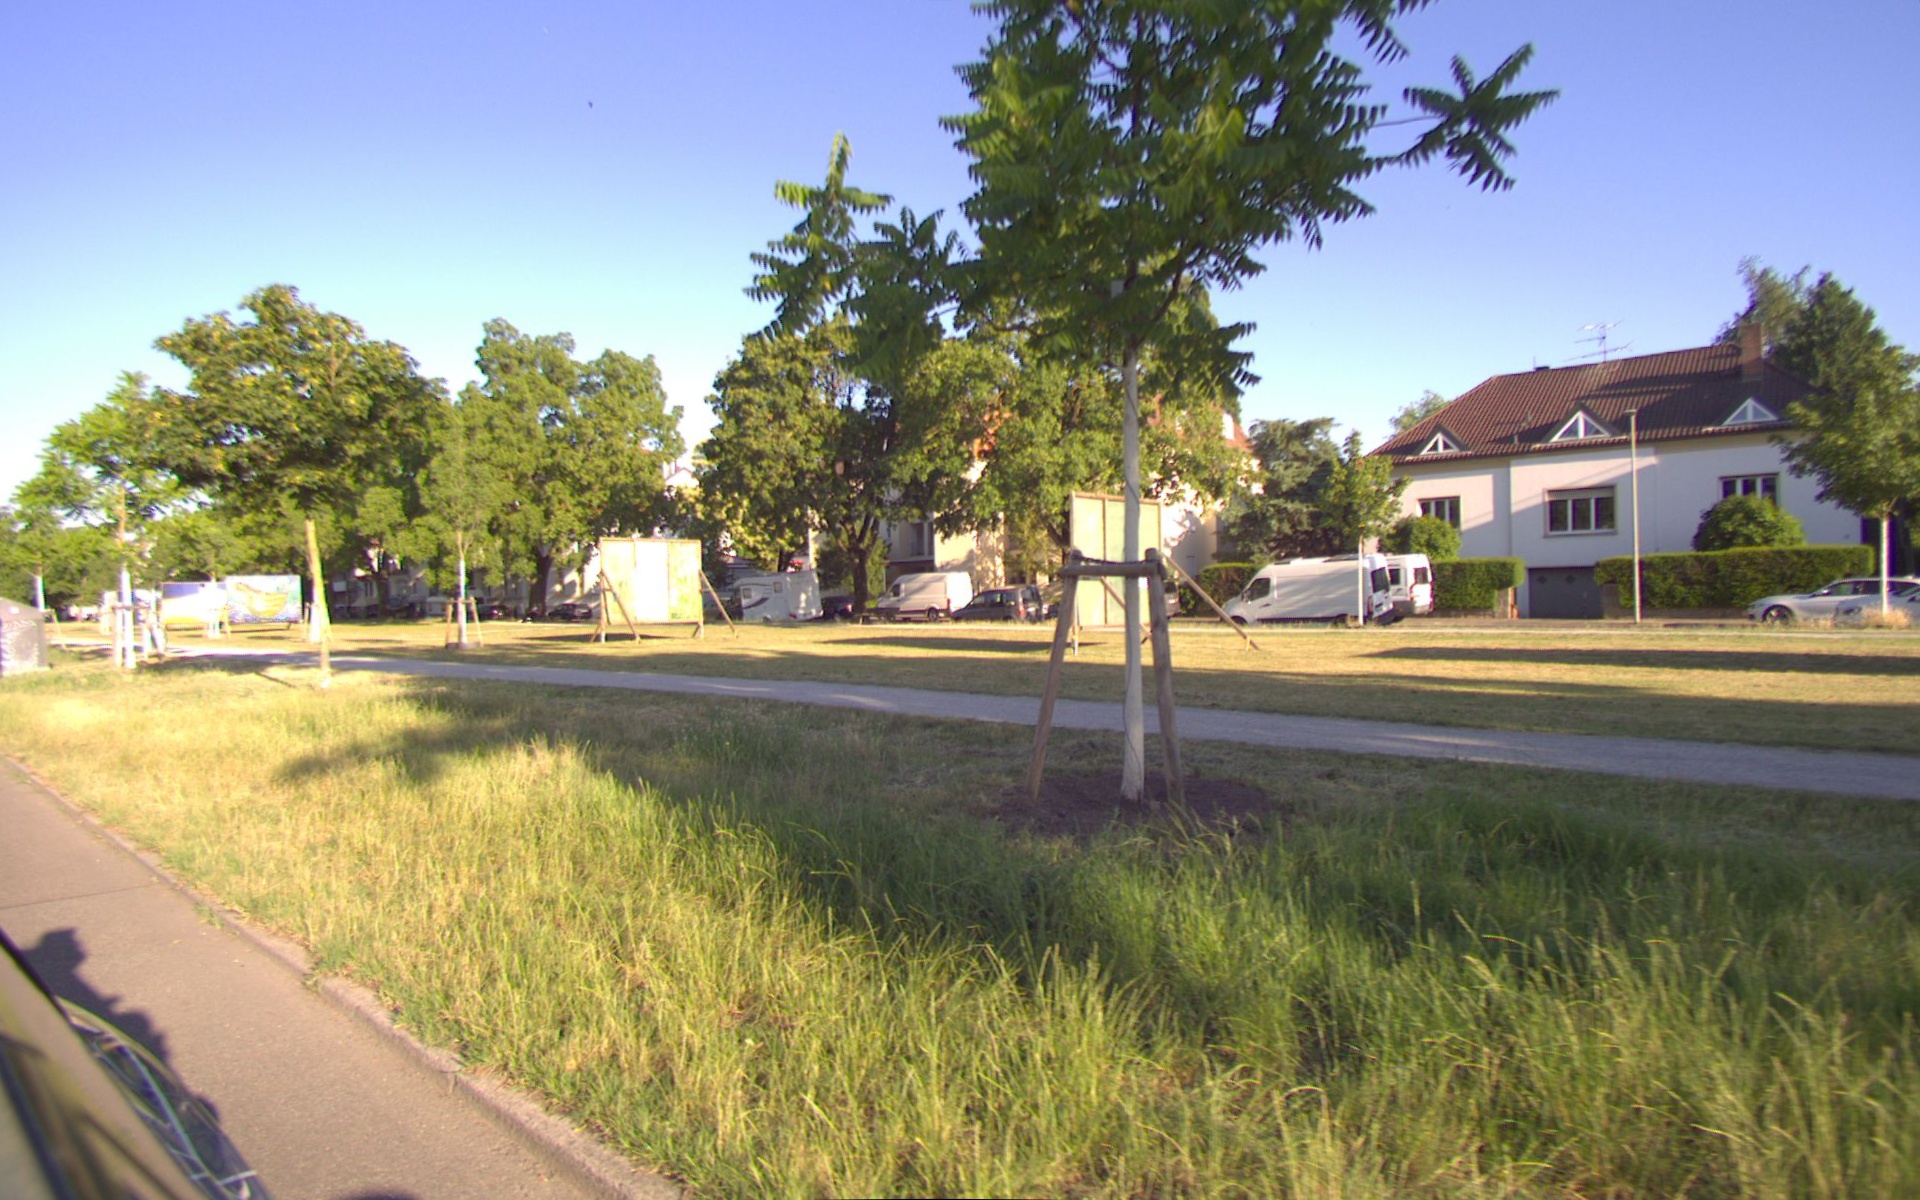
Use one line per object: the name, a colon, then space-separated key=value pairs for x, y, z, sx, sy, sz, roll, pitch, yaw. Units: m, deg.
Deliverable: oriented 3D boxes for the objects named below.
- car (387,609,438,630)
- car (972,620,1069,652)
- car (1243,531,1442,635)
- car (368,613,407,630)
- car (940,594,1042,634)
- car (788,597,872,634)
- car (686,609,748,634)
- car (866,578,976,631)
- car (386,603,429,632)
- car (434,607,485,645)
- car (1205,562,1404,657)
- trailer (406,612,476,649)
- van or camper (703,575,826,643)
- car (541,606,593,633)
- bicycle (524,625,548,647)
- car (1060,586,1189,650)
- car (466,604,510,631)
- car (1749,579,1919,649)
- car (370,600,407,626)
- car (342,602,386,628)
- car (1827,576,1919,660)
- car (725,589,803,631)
car: x=-45.004 y=1.633 z=83.204 sx=4.947 sy=1.654 sz=1.974 roll=-2 pitch=0 yaw=40
car: x=2.904 y=1.750 z=49.222 sx=4.564 sy=1.413 sz=1.971 roll=-1 pitch=-5 yaw=45
car: x=14.495 y=-0.525 z=38.706 sx=6.762 sy=3.586 sz=2.279 roll=-1 pitch=-4 yaw=41
car: x=-49.024 y=1.833 z=86.584 sx=4.043 sy=1.325 sz=1.832 roll=-2 pitch=0 yaw=44
car: x=1.255 y=0.619 z=42.182 sx=4.306 sy=1.576 sz=1.399 roll=-2 pitch=-1 yaw=40
car: x=-7.549 y=0.886 z=58.414 sx=5.048 sy=2.020 sz=1.949 roll=-2 pitch=-1 yaw=42
car: x=-15.769 y=1.398 z=65.575 sx=3.806 sy=1.554 sz=1.974 roll=-2 pitch=-1 yaw=39
car: x=-2.148 y=0.286 z=54.026 sx=6.087 sy=2.617 sz=1.973 roll=-1 pitch=-4 yaw=41
car: x=-53.837 y=1.697 z=98.552 sx=5.042 sy=2.660 sz=1.925 roll=-1 pitch=-4 yaw=41
car: x=-44.872 y=2.368 z=90.644 sx=6.071 sy=3.274 sz=1.973 roll=-3 pitch=-3 yaw=41
car: x=11.373 y=0.366 z=33.693 sx=5.869 sy=2.847 sz=2.236 roll=-1 pitch=-4 yaw=42
trailer: x=-40.666 y=2.361 z=79.266 sx=6.632 sy=2.679 sz=2.448 roll=-1 pitch=-4 yaw=41
van or camper: x=-10.242 y=0.536 z=52.668 sx=6.902 sy=3.287 sz=2.614 roll=-3 pitch=-2 yaw=42
car: x=-30.409 y=1.505 z=78.243 sx=4.712 sy=1.927 sz=1.870 roll=-2 pitch=-2 yaw=42
bicycle: x=-26.286 y=2.223 z=62.789 sx=2.331 sy=1.352 sz=0.505 roll=-2 pitch=-2 yaw=45
car: x=7.298 y=0.820 z=45.146 sx=5.321 sy=2.624 sz=2.114 roll=-1 pitch=-4 yaw=40
car: x=-40.237 y=1.472 z=86.172 sx=3.999 sy=2.171 sz=1.972 roll=-2 pitch=-2 yaw=42
car: x=25.701 y=0.426 z=29.081 sx=4.712 sy=1.868 sz=1.712 roll=-1 pitch=-4 yaw=41
car: x=-57.461 y=1.281 z=101.759 sx=3.998 sy=2.560 sz=1.973 roll=0 pitch=-1 yaw=41
car: x=-53.213 y=1.335 z=90.353 sx=4.566 sy=2.191 sz=1.974 roll=-3 pitch=-2 yaw=39
car: x=23.333 y=0.443 z=23.628 sx=4.641 sy=1.914 sz=1.813 roll=-1 pitch=-4 yaw=42
car: x=-10.242 y=0.536 z=52.668 sx=3.999 sy=2.029 sz=1.972 roll=-3 pitch=-2 yaw=42
